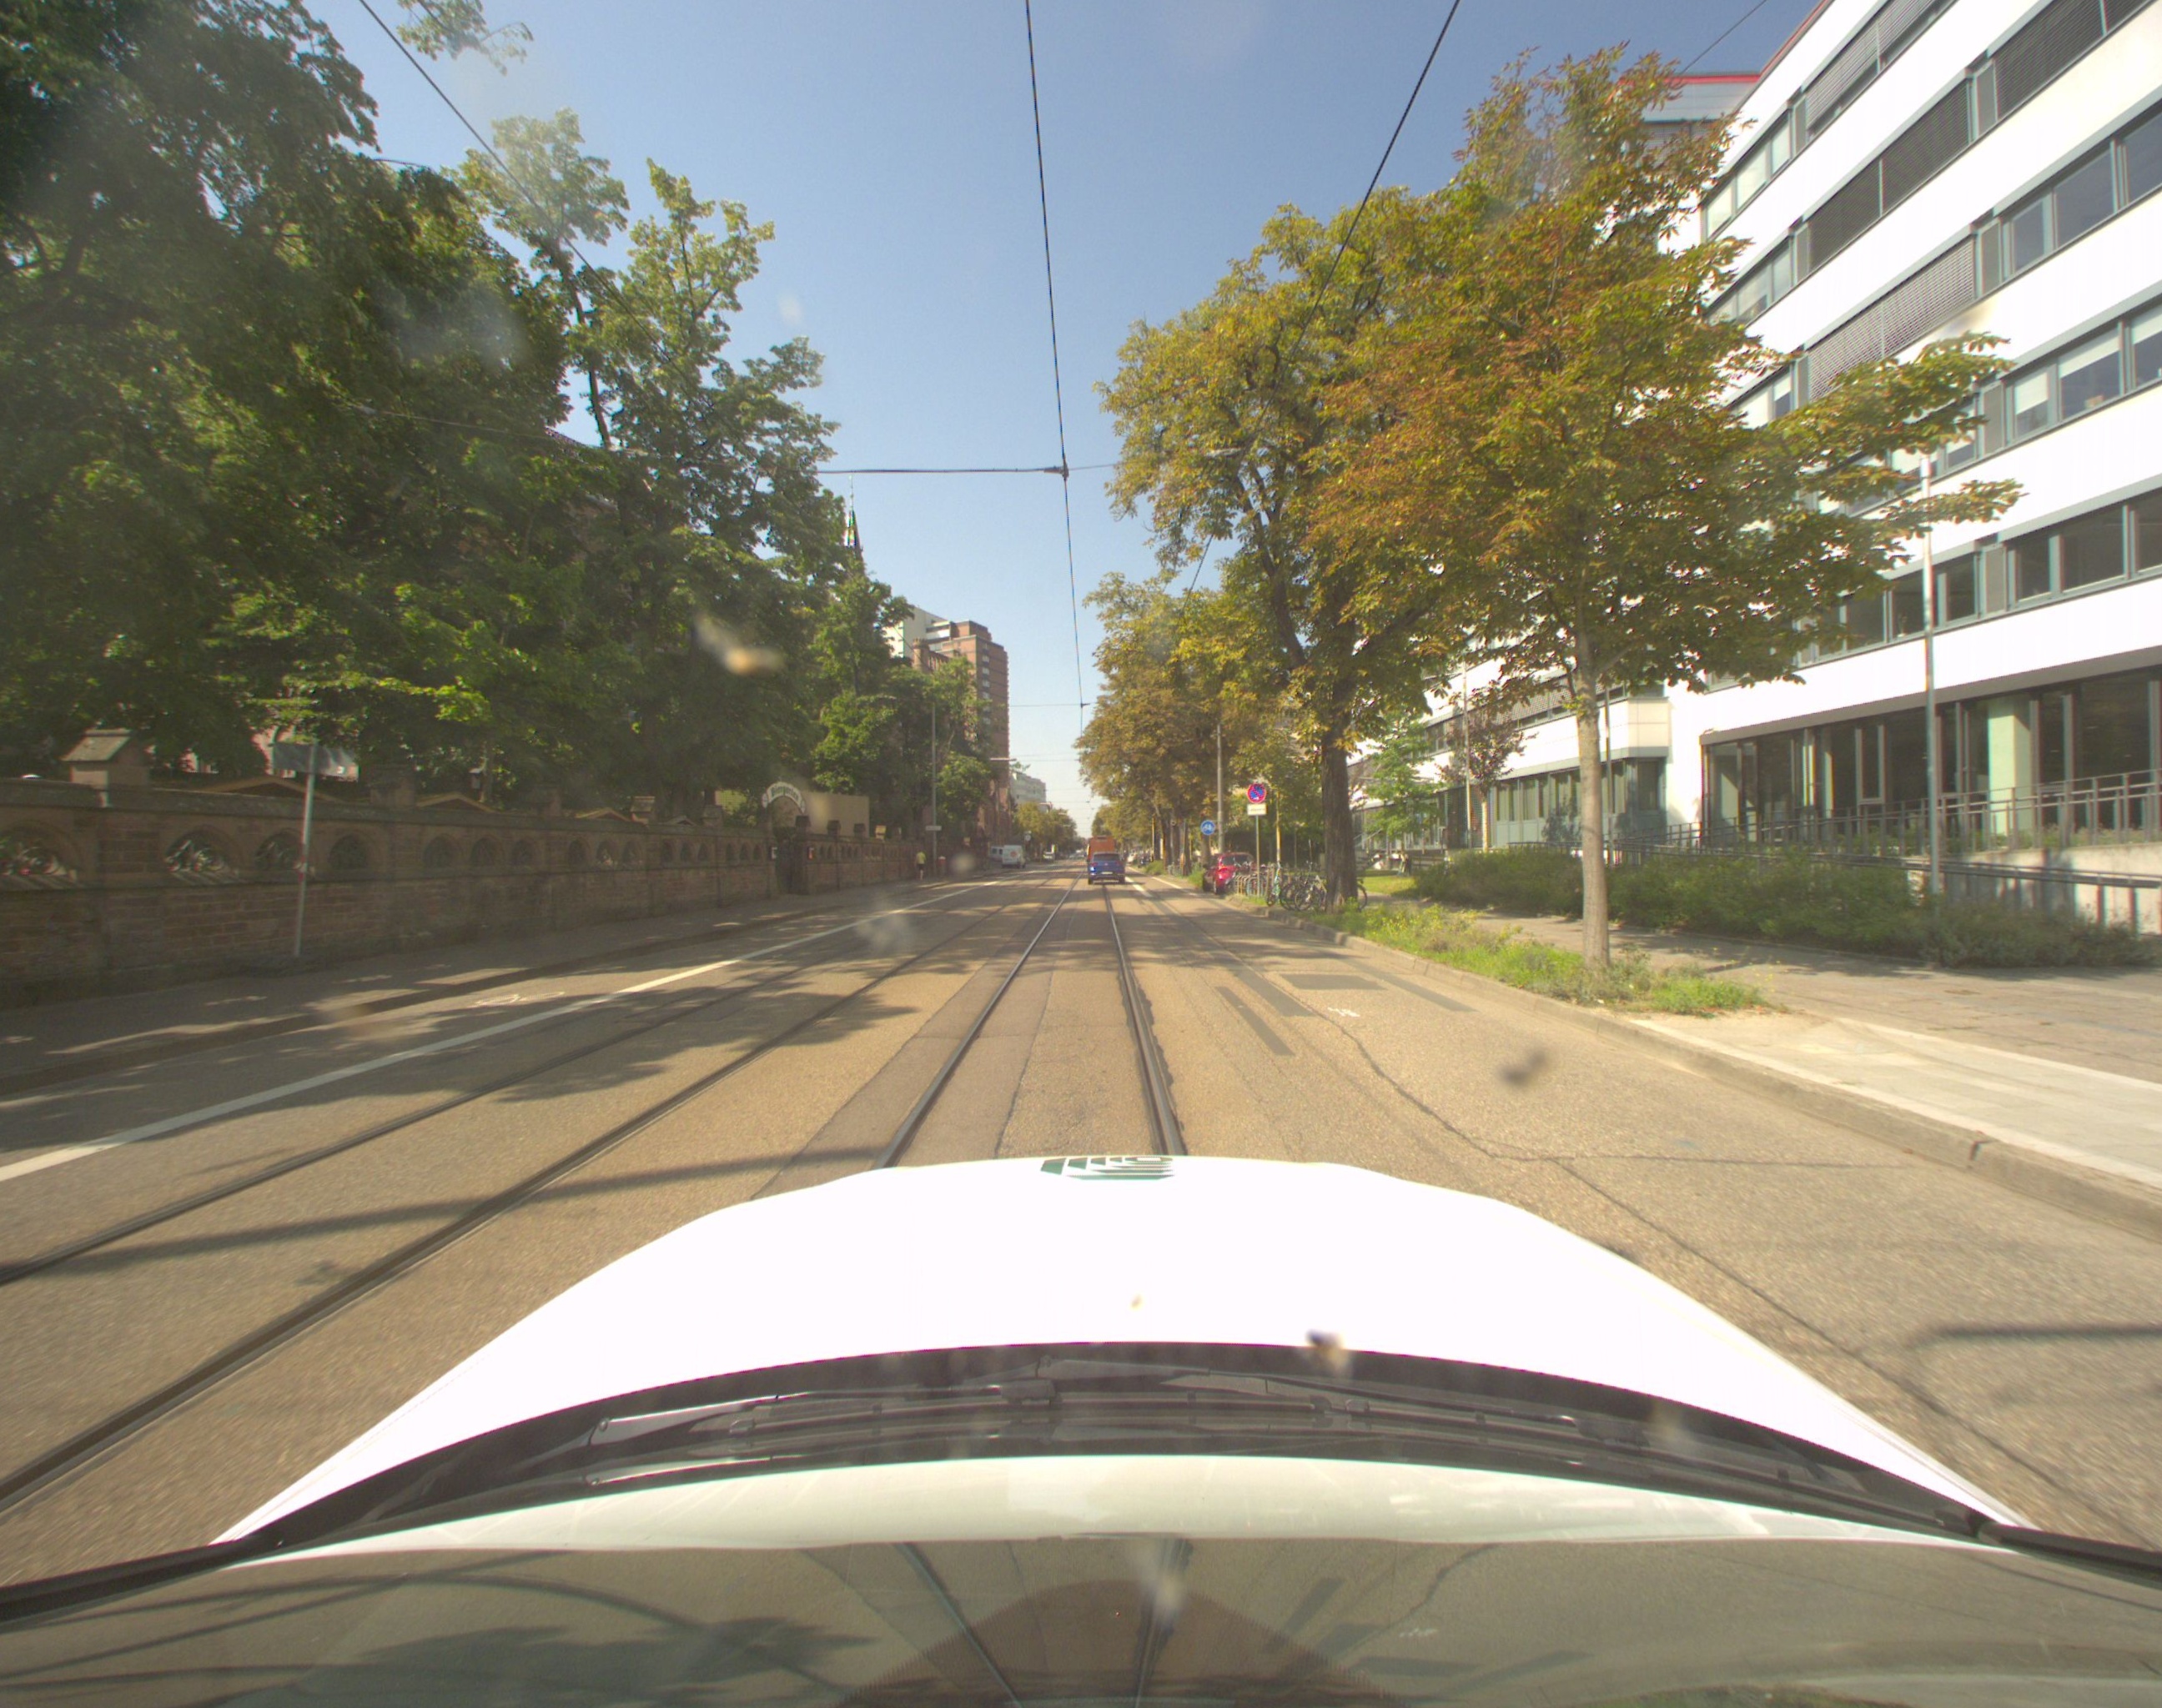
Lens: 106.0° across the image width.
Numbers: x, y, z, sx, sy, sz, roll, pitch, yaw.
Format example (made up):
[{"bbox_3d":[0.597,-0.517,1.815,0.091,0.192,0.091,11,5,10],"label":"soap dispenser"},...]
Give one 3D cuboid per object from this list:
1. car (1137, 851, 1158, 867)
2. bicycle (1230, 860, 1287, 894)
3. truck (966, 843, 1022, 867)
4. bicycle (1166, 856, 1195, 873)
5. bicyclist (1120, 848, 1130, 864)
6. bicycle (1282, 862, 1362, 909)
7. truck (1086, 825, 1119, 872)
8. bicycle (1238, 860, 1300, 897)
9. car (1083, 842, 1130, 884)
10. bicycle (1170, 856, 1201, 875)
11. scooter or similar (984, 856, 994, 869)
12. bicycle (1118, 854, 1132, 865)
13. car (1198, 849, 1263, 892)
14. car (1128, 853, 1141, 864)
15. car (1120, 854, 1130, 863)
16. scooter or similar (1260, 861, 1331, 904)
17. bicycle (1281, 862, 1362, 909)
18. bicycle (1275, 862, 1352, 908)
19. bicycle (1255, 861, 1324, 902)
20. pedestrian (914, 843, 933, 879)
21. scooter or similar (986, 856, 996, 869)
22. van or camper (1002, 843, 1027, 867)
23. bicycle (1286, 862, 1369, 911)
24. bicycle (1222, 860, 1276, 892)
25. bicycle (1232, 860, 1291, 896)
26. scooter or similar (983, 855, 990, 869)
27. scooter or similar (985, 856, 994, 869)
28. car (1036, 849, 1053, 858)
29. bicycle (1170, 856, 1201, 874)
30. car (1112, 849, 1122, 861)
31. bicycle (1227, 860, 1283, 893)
[{"bbox_3d":[6.733,0.544,83.111,1.750,1.515,4.608,-2,0,0],"label":"car"},{"bbox_3d":[5.887,0.767,27.097,1.765,1.071,0.540,-2,0,-1],"label":"bicycle"},{"bbox_3d":[-10.356,0.067,97.385,6.289,2.538,2.134,2,1,5],"label":"truck"},{"bbox_3d":[6.366,0.684,51.970,1.765,1.050,0.540,-2,0,-1],"label":"bicycle"},{"bbox_3d":[4.819,0.211,88.318,1.028,1.812,1.016,-1,0,1],"label":"bicyclist"},{"bbox_3d":[5.842,0.758,19.802,1.765,1.071,0.540,-2,0,-1],"label":"bicycle"},{"bbox_3d":[1.505,-0.367,57.900,2.128,3.124,6.086,-2,0,1],"label":"truck"},{"bbox_3d":[5.800,0.765,25.184,1.765,1.071,0.540,-2,0,-1],"label":"bicycle"},{"bbox_3d":[1.266,0.427,40.524,2.128,1.858,5.569,-2,0,1],"label":"car"},{"bbox_3d":[6.280,0.681,48.812,1.765,1.050,0.540,-2,0,-1],"label":"bicycle"},{"bbox_3d":[-8.667,0.813,76.650,0.336,1.178,1.185,-1,0,26],"label":"scooter or similar"},{"bbox_3d":[4.788,0.634,88.316,1.397,1.134,4.001,-1,0,1],"label":"bicycle"},{"bbox_3d":[5.648,0.588,31.244,1.749,1.462,4.275,-2,0,1],"label":"car"},{"bbox_3d":[7.507,0.592,113.991,1.653,1.481,4.218,-2,0,1],"label":"car"},{"bbox_3d":[7.762,0.784,143.926,1.736,1.556,4.218,-2,0,1],"label":"car"},{"bbox_3d":[5.784,0.762,22.014,1.765,1.071,0.540,-2,0,-1],"label":"scooter or similar"},{"bbox_3d":[5.831,0.759,19.780,1.765,1.071,0.540,-2,0,-1],"label":"bicycle"},{"bbox_3d":[5.810,0.759,20.381,1.765,1.071,0.540,-2,0,-1],"label":"bicycle"},{"bbox_3d":[5.775,0.762,22.602,1.765,1.071,0.540,-2,0,-1],"label":"bicycle"},{"bbox_3d":[-8.930,0.396,46.157,0.861,2.013,0.983,0,0,-1],"label":"pedestrian"},{"bbox_3d":[-8.695,0.816,78.957,0.336,1.178,1.185,-1,0,26],"label":"scooter or similar"},{"bbox_3d":[-7.480,0.127,92.514,2.104,2.675,5.959,-1,0,2],"label":"van or camper"},{"bbox_3d":[5.770,0.758,19.084,1.765,1.071,0.540,-2,0,-1],"label":"bicycle"},{"bbox_3d":[5.881,0.769,28.546,1.765,1.071,0.540,-2,0,-1],"label":"bicycle"},{"bbox_3d":[5.821,0.766,26.286,1.765,1.071,0.540,-2,0,-1],"label":"bicycle"},{"bbox_3d":[-8.422,0.715,72.347,0.421,1.178,1.310,0,0,-14],"label":"scooter or similar"},{"bbox_3d":[-8.733,0.815,77.823,0.336,1.178,1.185,-1,0,26],"label":"scooter or similar"},{"bbox_3d":[-7.343,-0.162,161.932,1.758,1.796,3.961,0,0,-30],"label":"car"},{"bbox_3d":[6.337,0.681,49.490,1.765,1.050,0.540,-2,0,-1],"label":"bicycle"},{"bbox_3d":[8.736,0.305,198.237,1.987,2.755,5.760,-1,0,0],"label":"car"},{"bbox_3d":[5.927,0.767,27.772,1.765,1.071,0.540,-2,0,-1],"label":"bicycle"}]
